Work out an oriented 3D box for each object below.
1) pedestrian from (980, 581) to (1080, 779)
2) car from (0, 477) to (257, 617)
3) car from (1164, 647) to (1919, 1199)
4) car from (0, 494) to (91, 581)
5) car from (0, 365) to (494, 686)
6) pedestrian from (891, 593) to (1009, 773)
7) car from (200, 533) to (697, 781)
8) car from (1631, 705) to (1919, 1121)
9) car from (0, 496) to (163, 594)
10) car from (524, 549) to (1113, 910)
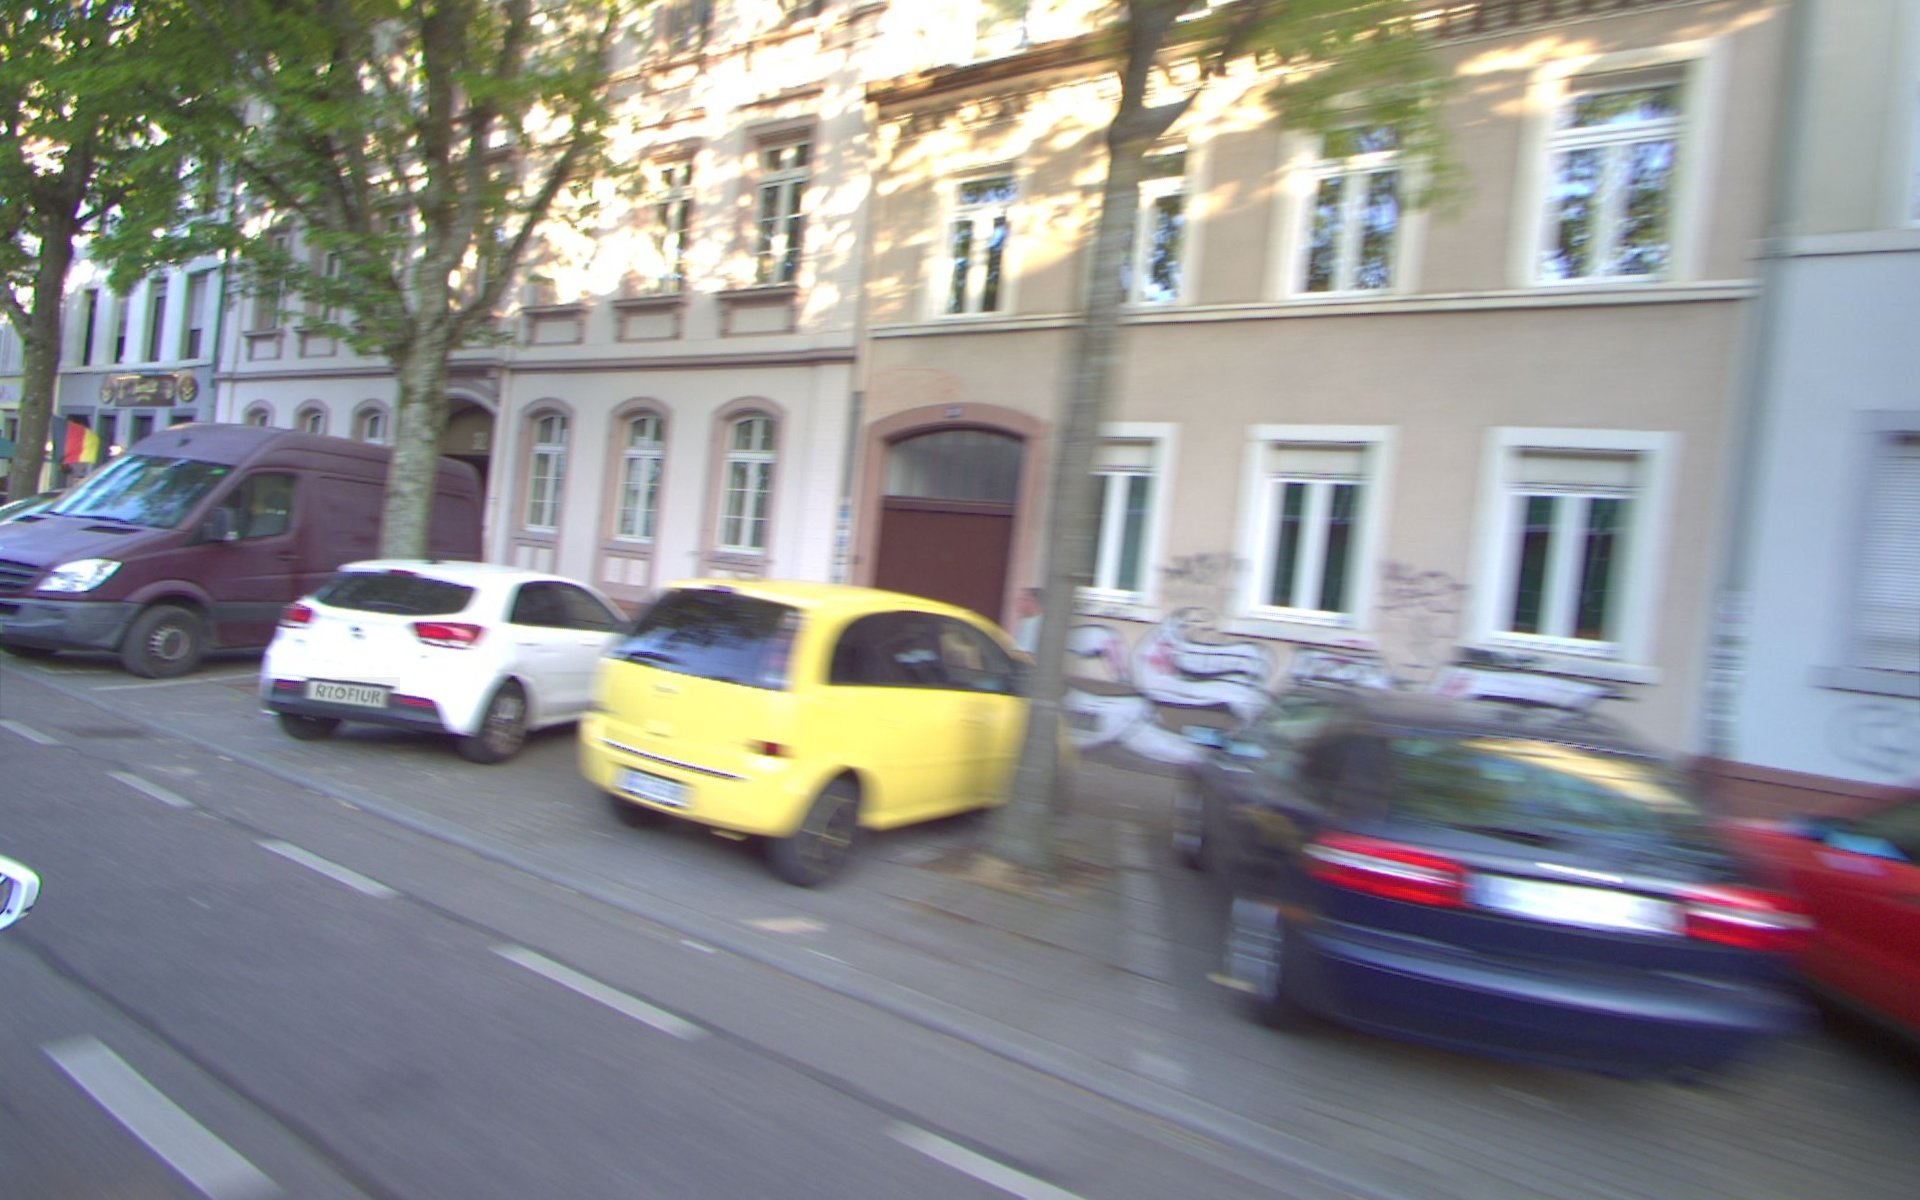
[{"bbox_3d":[0.697,0.776,9.924,0.597,1.837,0.566,7,1,31],"label":"pedestrian"},{"bbox_3d":[-13.117,-0.787,14.869,1.785,1.728,4.022,6,-1,25],"label":"car"},{"bbox_3d":[2.273,1.142,5.211,1.884,1.443,4.135,6,0,6],"label":"car"},{"bbox_3d":[-18.407,-1.269,17.850,1.970,1.517,4.190,6,0,7],"label":"car"},{"bbox_3d":[-7.917,-0.659,11.174,1.983,2.676,5.111,6,1,15],"label":"car"},{"bbox_3d":[-0.099,0.780,9.667,0.800,1.587,0.538,7,1,33],"label":"pedestrian"},{"bbox_3d":[-4.045,0.398,8.847,1.884,1.505,3.964,6,0,8],"label":"car"},{"bbox_3d":[4.733,1.411,3.772,1.861,1.443,4.135,6,0,6],"label":"car"},{"bbox_3d":[-16.242,-1.014,16.781,1.970,1.481,4.189,6,0,15],"label":"car"},{"bbox_3d":[-0.651,0.705,7.044,1.889,1.640,3.953,6,1,32],"label":"car"}]
